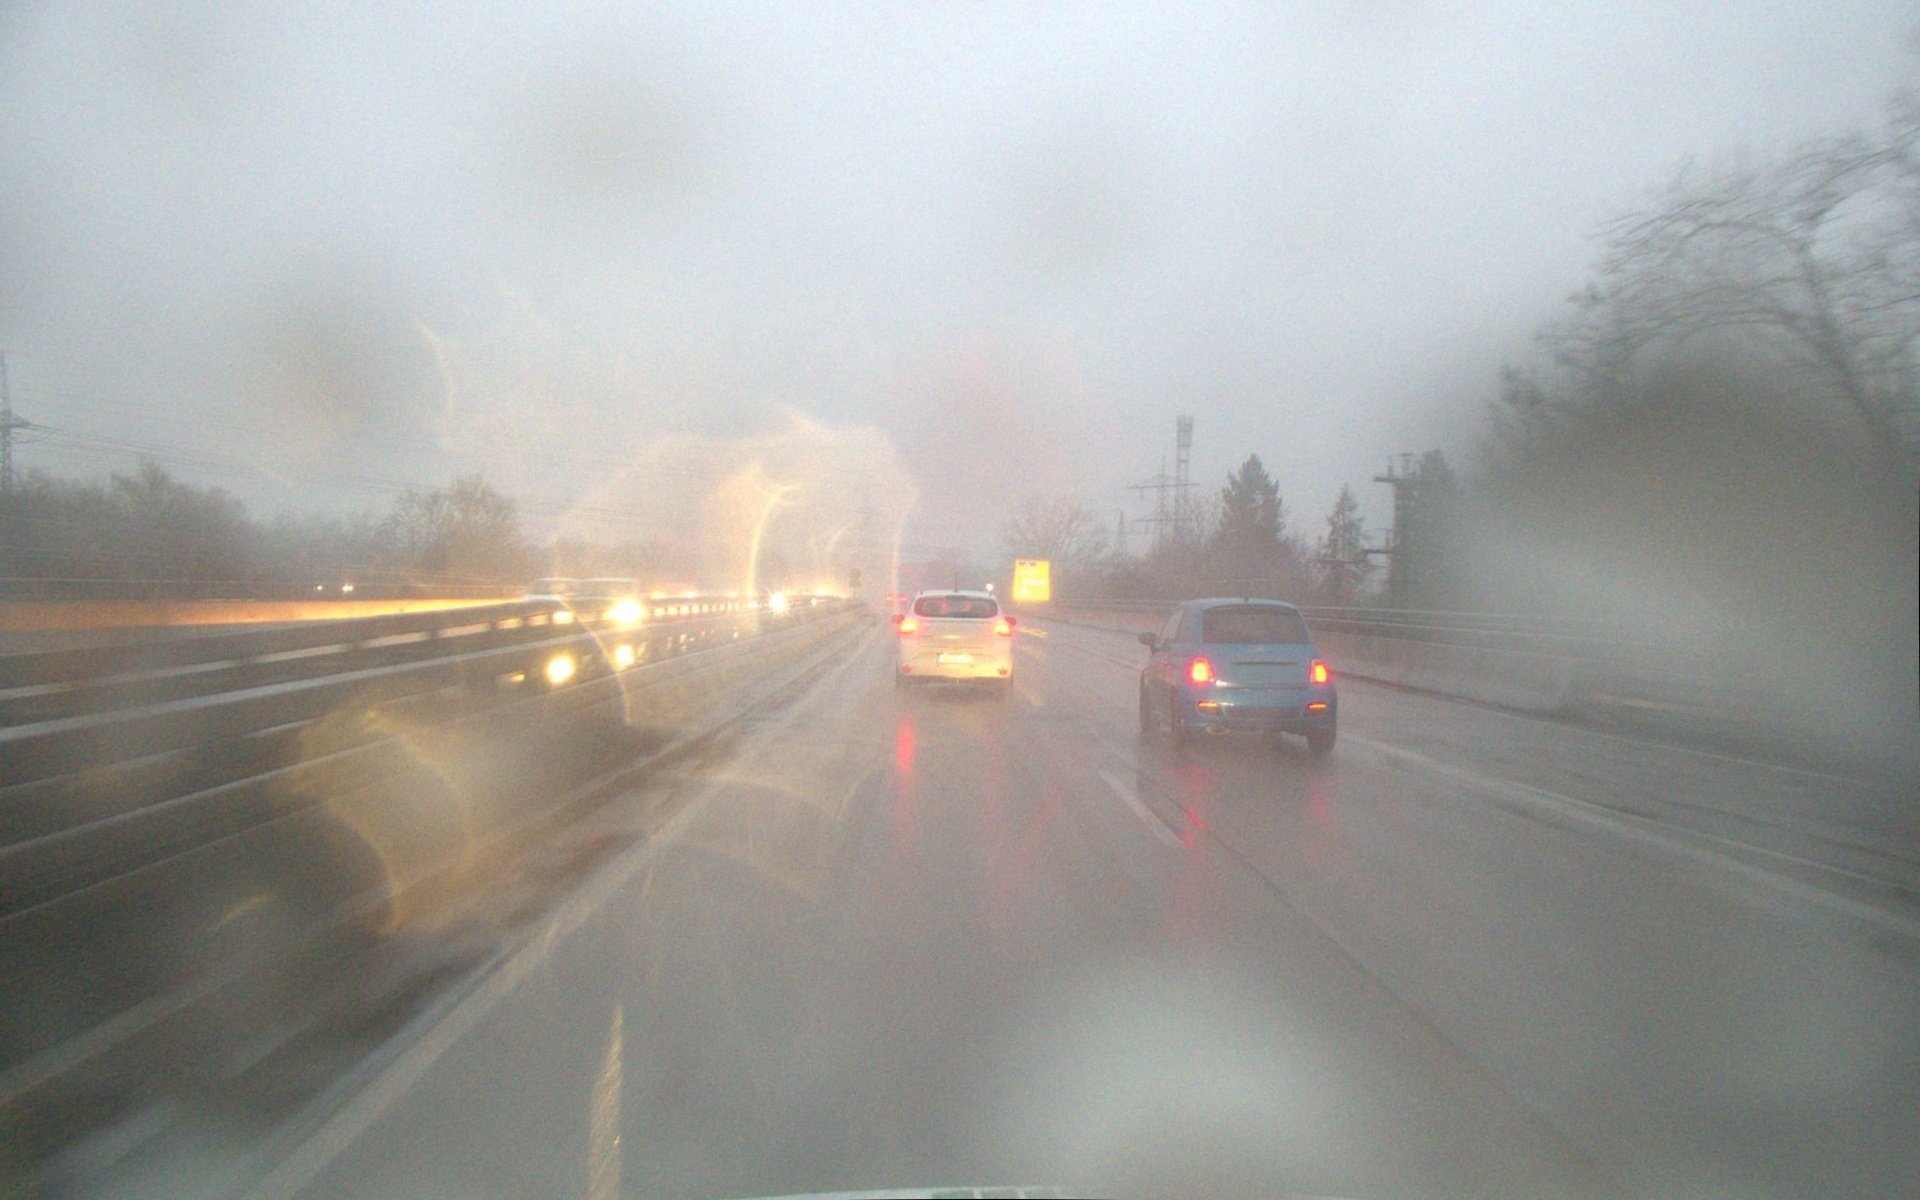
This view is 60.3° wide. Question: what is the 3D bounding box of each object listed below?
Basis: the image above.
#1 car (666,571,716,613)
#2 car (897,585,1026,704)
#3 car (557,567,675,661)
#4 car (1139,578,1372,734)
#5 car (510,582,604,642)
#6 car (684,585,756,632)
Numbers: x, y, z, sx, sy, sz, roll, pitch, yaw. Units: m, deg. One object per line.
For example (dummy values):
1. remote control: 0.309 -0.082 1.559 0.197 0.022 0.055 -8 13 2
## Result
1. car: -12.382 -0.404 76.237 1.707 1.847 3.999 1 1 -2
2. car: -0.036 0.621 25.482 1.808 1.664 3.766 1 0 -2
3. car: -8.178 0.298 39.702 1.924 2.088 4.372 1 1 -1
4. car: 3.127 0.522 18.293 1.808 1.479 4.149 1 1 0
5. car: -11.399 0.308 47.053 1.818 1.593 3.921 1 1 -2
6. car: -8.377 0.260 58.138 1.924 1.528 4.372 2 1 -1
